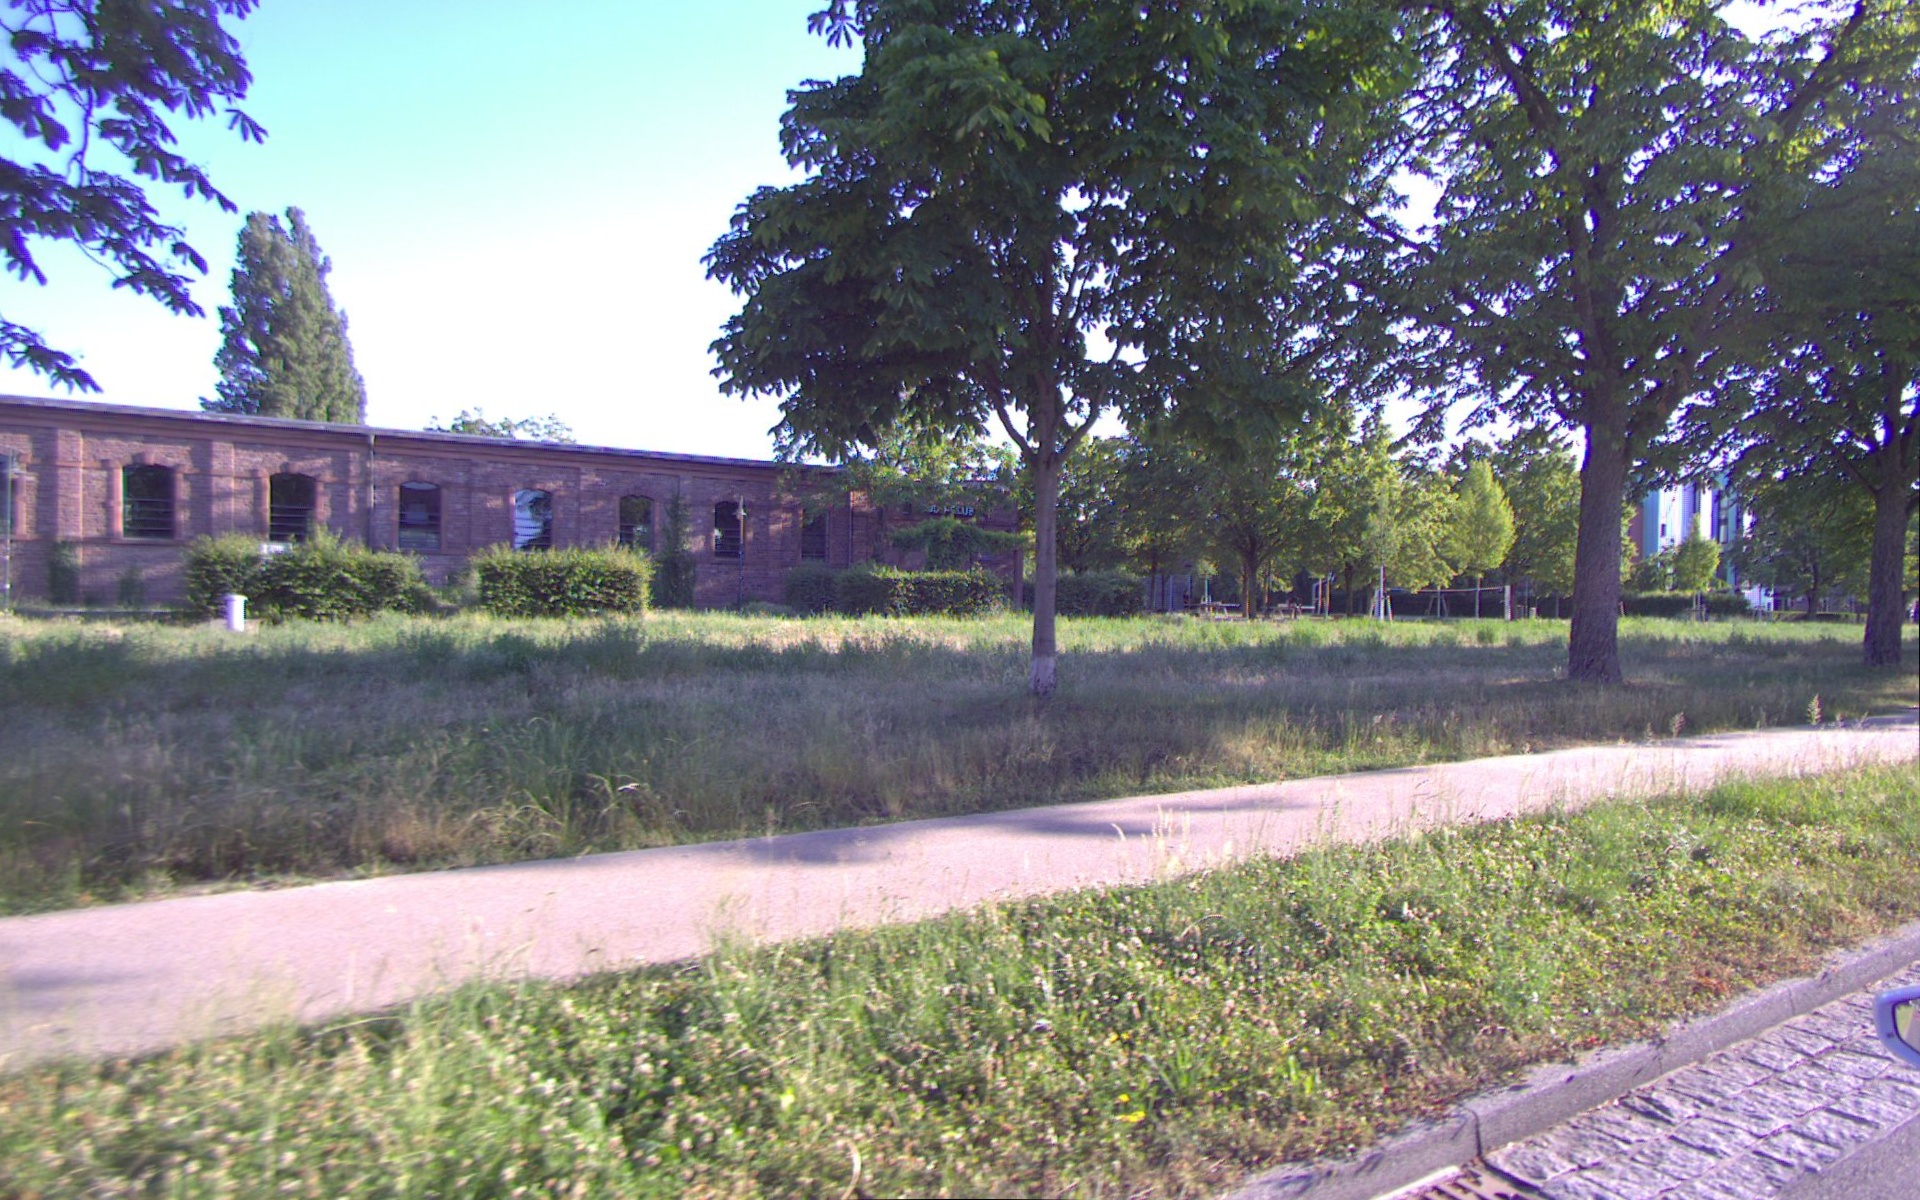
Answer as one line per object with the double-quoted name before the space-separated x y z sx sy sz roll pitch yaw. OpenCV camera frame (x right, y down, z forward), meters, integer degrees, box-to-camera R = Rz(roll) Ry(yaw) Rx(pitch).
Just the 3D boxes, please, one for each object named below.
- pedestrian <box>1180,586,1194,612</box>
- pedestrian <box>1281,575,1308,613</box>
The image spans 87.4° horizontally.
"pedestrian" 12.838 -0.059 56.830 0.496 1.498 0.583 1 1 -39
"pedestrian" 17.312 -0.328 52.002 0.787 1.906 1.044 1 1 -27
